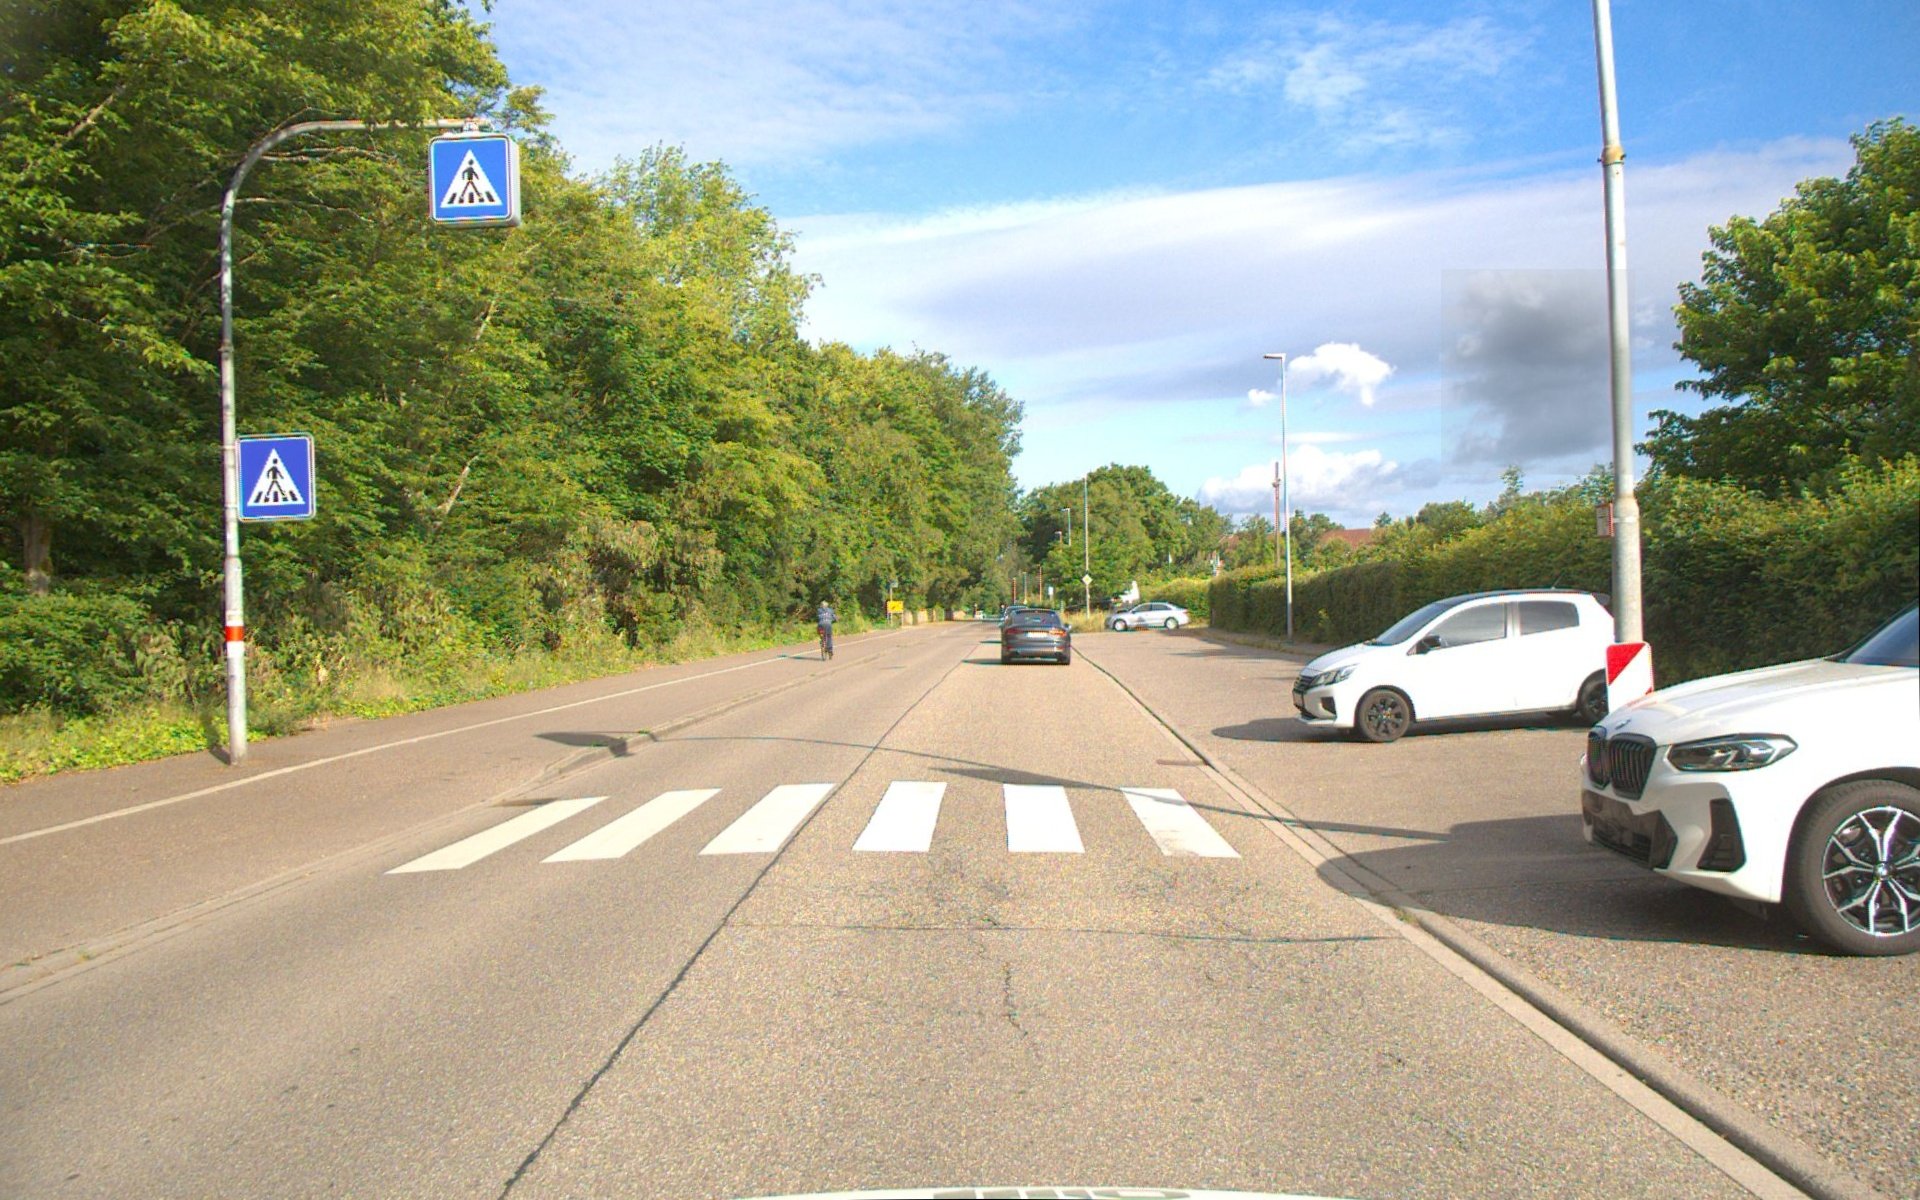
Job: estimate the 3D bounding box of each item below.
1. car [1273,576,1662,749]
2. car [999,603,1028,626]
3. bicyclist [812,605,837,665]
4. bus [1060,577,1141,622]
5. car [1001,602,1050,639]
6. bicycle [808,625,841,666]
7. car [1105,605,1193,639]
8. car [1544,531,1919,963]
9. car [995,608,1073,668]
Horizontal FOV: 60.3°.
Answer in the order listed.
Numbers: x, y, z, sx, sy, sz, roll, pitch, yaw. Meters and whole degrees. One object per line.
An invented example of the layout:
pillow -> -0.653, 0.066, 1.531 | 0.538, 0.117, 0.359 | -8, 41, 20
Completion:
car -> 5.606, 0.658, 18.589 | 3.779, 1.515, 1.692 | -5, 1, 0
car -> 3.503, 0.936, 108.324 | 1.847, 1.396, 4.055 | -2, 0, 1
bicyclist -> -3.957, 1.013, 48.311 | 0.596, 1.706, 0.884 | 0, 0, 2
bus -> 9.598, -0.014, 113.431 | 5.256, 2.794, 2.068 | -3, 0, -1
car -> 2.556, 0.802, 65.654 | 1.847, 1.396, 4.055 | -2, 0, 1
bicycle -> -3.959, 1.323, 48.385 | 0.648, 1.116, 2.349 | 0, 0, 3
car -> 9.521, 1.097, 83.269 | 4.269, 1.468, 1.934 | -3, -1, 9
car -> 5.275, 0.514, 7.619 | 4.493, 1.729, 1.764 | -3, 0, 2
car -> 1.983, 0.976, 43.660 | 1.925, 1.459, 4.338 | 0, 0, 3
